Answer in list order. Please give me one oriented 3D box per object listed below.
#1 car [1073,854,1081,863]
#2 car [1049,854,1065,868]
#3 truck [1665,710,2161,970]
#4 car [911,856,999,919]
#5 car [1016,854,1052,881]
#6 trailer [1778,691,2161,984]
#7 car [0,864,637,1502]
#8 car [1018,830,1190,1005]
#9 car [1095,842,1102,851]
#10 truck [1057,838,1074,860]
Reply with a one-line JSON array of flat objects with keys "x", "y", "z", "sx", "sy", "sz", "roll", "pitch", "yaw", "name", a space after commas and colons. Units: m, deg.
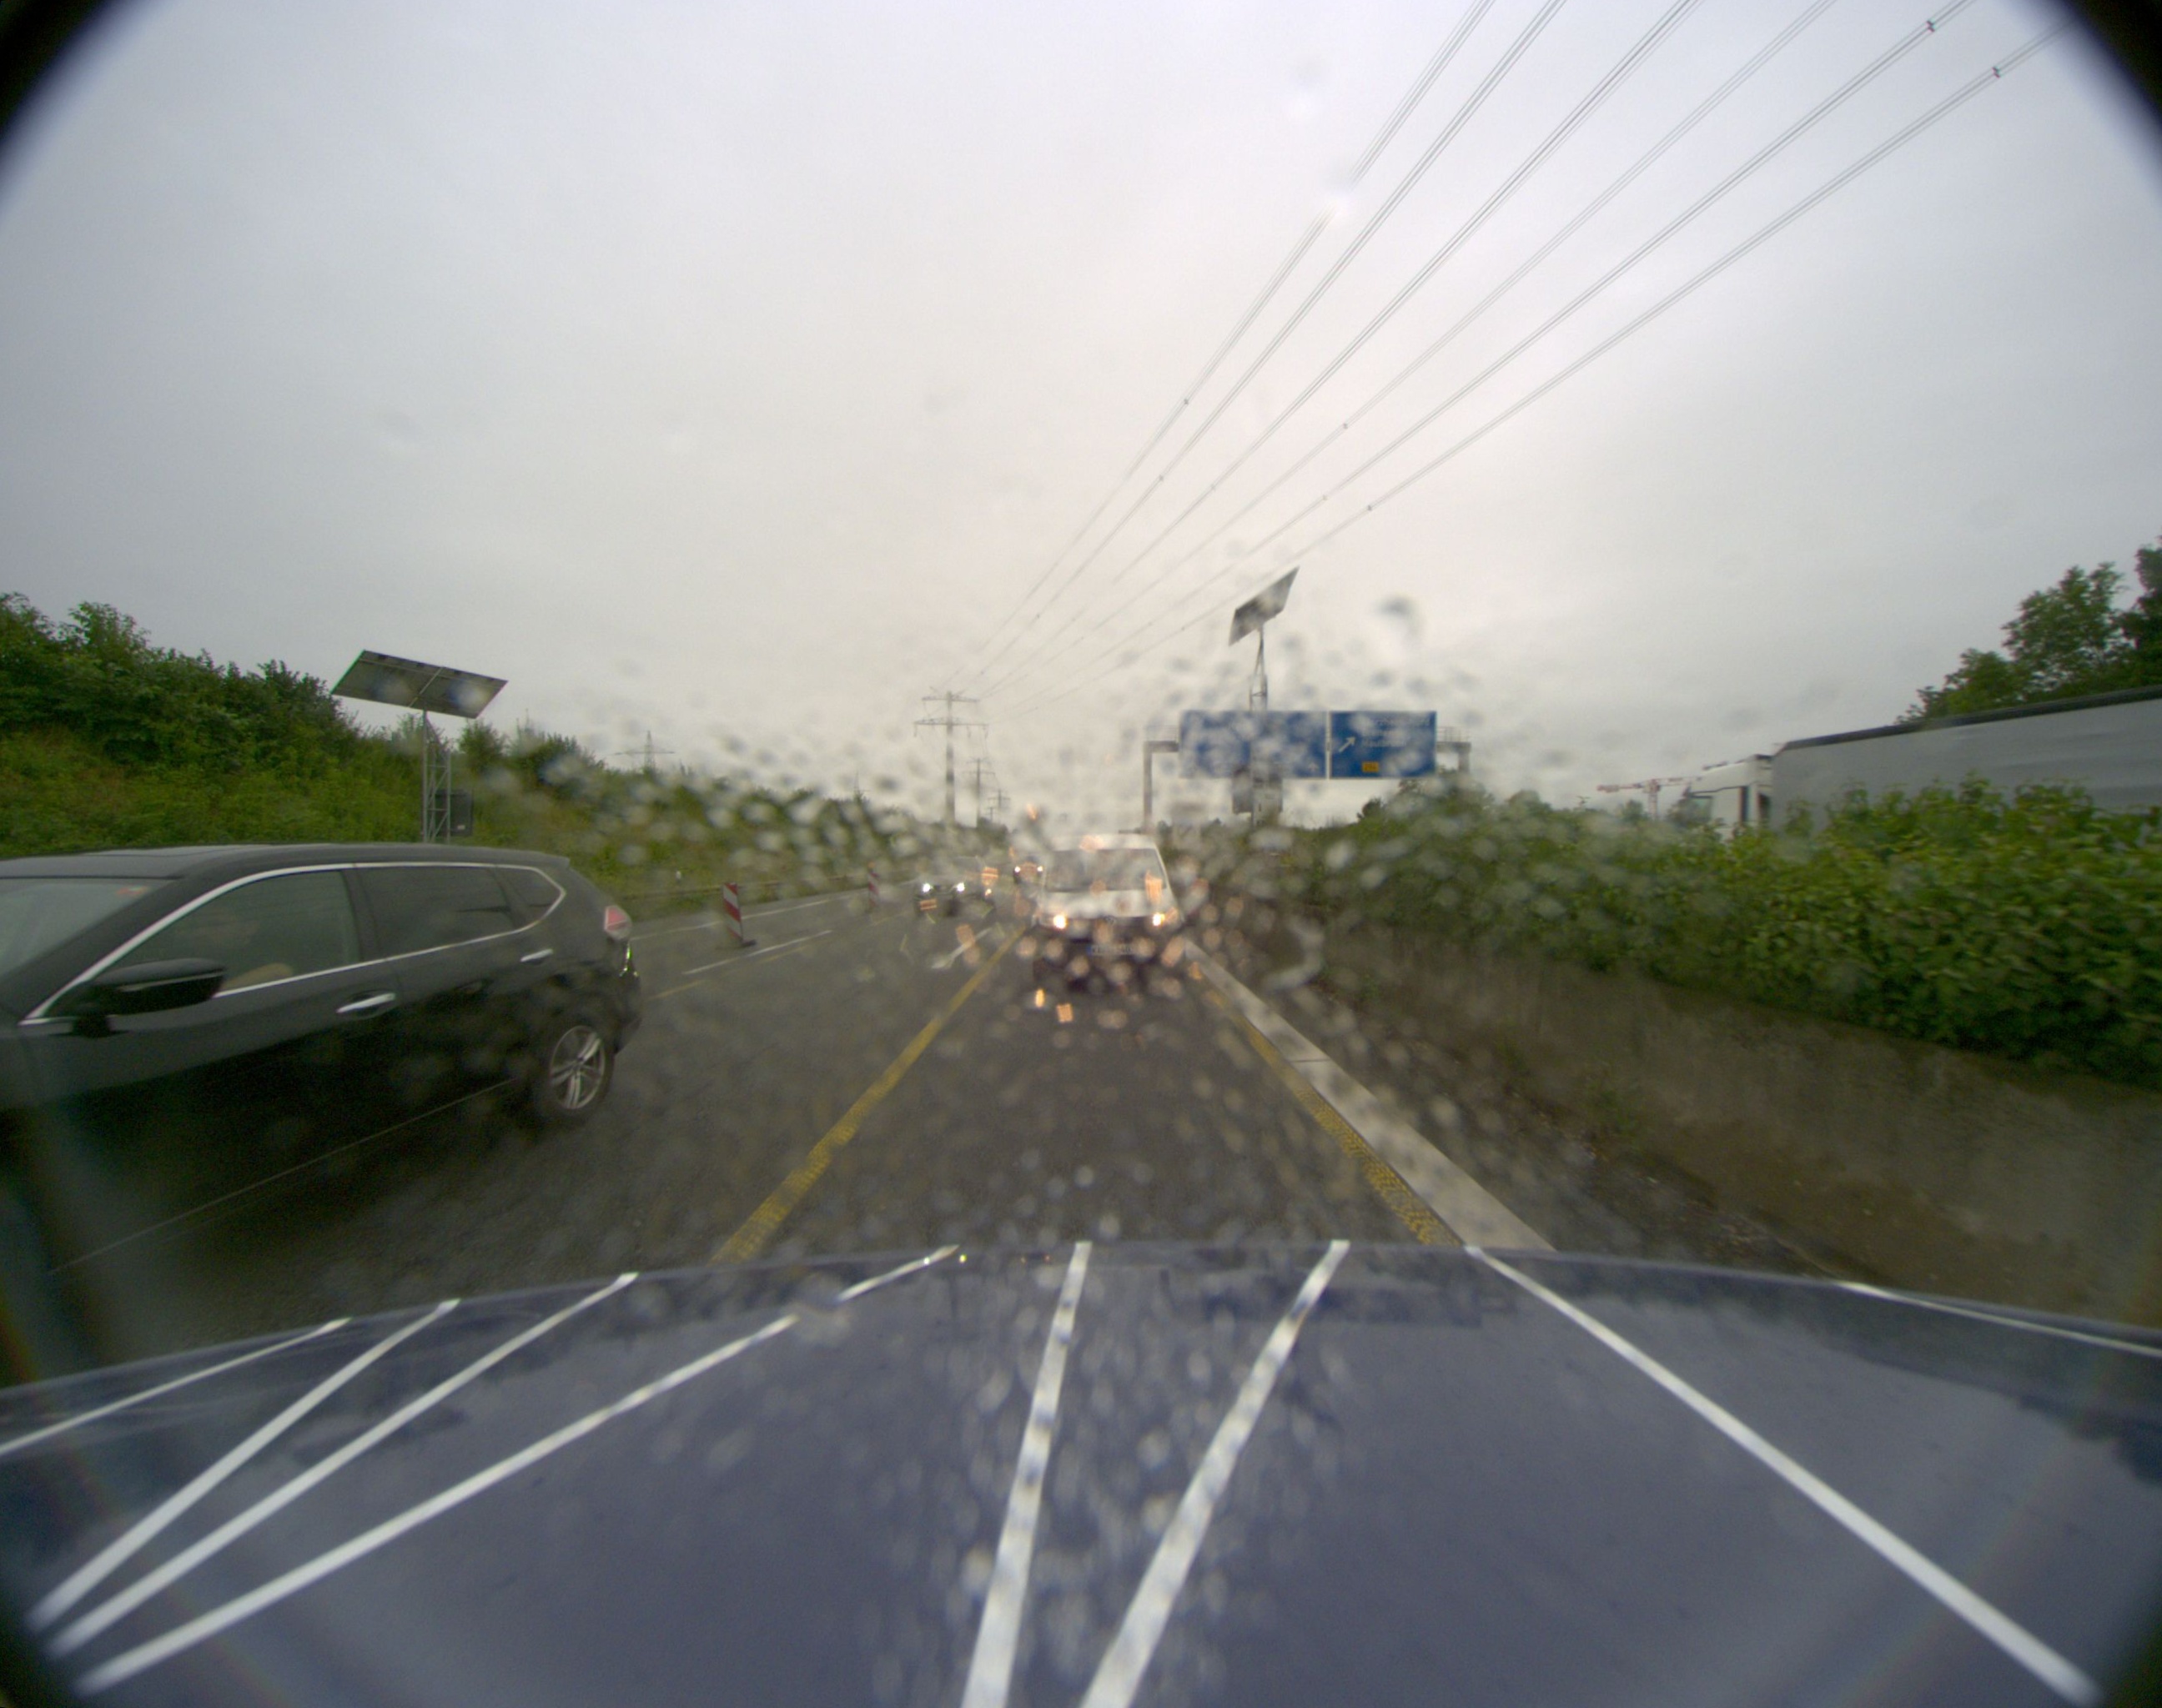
[{"x": -1.019, "y": 1.102, "z": 184.968, "sx": 1.784, "sy": 2.002, "sz": 4.000, "roll": -2, "pitch": 0, "yaw": 1, "name": "car"}, {"x": -2.829, "y": 0.778, "z": 91.781, "sx": 1.804, "sy": 1.598, "sz": 4.149, "roll": -2, "pitch": 0, "yaw": -1, "name": "car"}, {"x": 16.140, "y": -0.234, "z": 15.484, "sx": 2.793, "sy": 4.000, "sz": 7.232, "roll": 2, "pitch": 1, "yaw": 0, "name": "truck"}, {"x": -3.442, "y": 0.867, "z": 21.450, "sx": 1.804, "sy": 1.523, "sz": 4.149, "roll": -2, "pitch": 0, "yaw": -1, "name": "car"}, {"x": -2.682, "y": 0.745, "z": 43.975, "sx": 1.804, "sy": 1.432, "sz": 4.149, "roll": -2, "pitch": 0, "yaw": -1, "name": "car"}, {"x": 16.153, "y": -0.190, "z": 9.375, "sx": 2.793, "sy": 4.000, "sz": 13.249, "roll": 2, "pitch": 0, "yaw": 0, "name": "trailer"}, {"x": -3.761, "y": 0.925, "z": 2.824, "sx": 1.689, "sy": 1.649, "sz": 4.280, "roll": -2, "pitch": 0, "yaw": -1, "name": "car"}, {"x": 0.271, "y": 0.664, "z": 10.211, "sx": 1.768, "sy": 1.803, "sz": 4.345, "roll": -2, "pitch": 0, "yaw": 1, "name": "car"}, {"x": 4.360, "y": -1.856, "z": 188.091, "sx": 1.785, "sy": 2.002, "sz": 4.000, "roll": -2, "pitch": 1, "yaw": 1, "name": "car"}, {"x": -2.873, "y": -0.897, "z": 141.933, "sx": 2.875, "sy": 4.007, "sz": 8.308, "roll": -1, "pitch": 1, "yaw": 1, "name": "truck"}]
